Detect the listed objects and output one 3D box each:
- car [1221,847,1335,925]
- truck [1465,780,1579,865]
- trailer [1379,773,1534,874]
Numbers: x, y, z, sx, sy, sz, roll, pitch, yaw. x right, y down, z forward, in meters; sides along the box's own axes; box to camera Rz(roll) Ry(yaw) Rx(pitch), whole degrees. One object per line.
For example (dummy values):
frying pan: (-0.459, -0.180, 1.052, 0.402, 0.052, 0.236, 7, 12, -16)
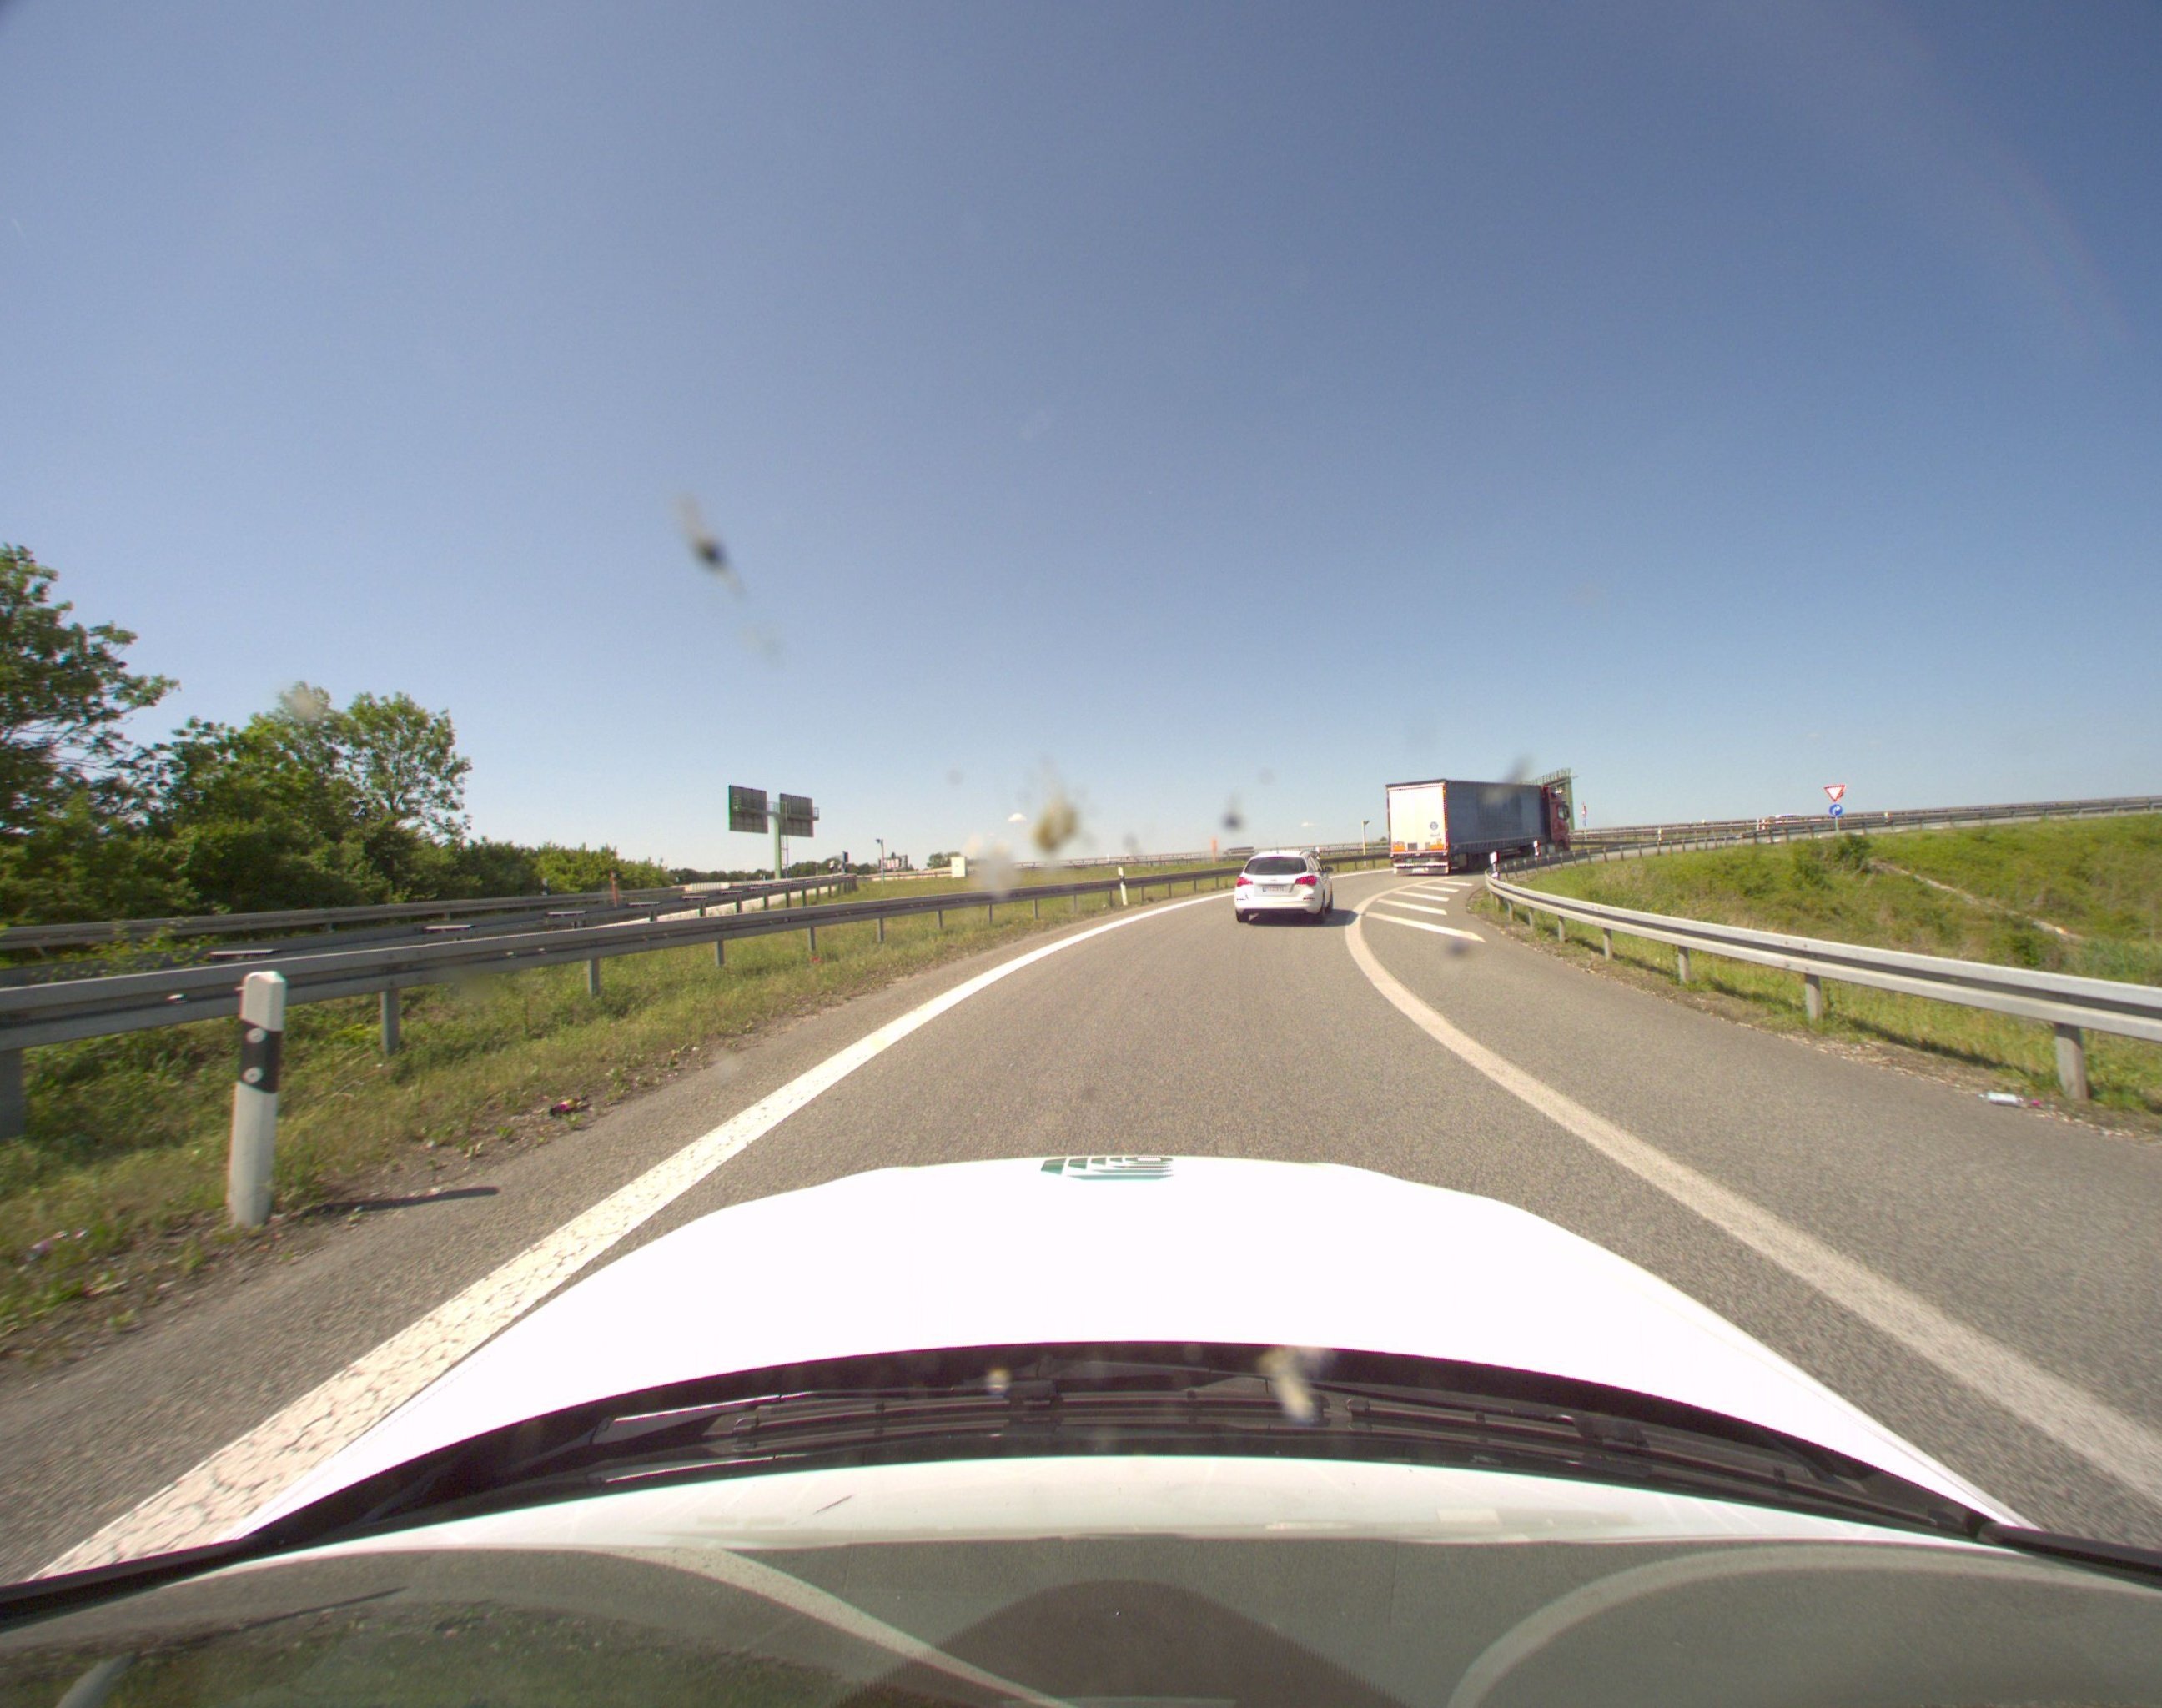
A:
car: (4.473, 0.622, 17.974, 1.838, 1.443, 4.395, -3, 0, 21)
truck: (23.755, -1.651, 43.755, 6.962, 4.145, 2.888, -2, 0, -40)
trailer: (18.039, -1.386, 38.464, 2.885, 4.145, 11.325, -2, 0, 44)
